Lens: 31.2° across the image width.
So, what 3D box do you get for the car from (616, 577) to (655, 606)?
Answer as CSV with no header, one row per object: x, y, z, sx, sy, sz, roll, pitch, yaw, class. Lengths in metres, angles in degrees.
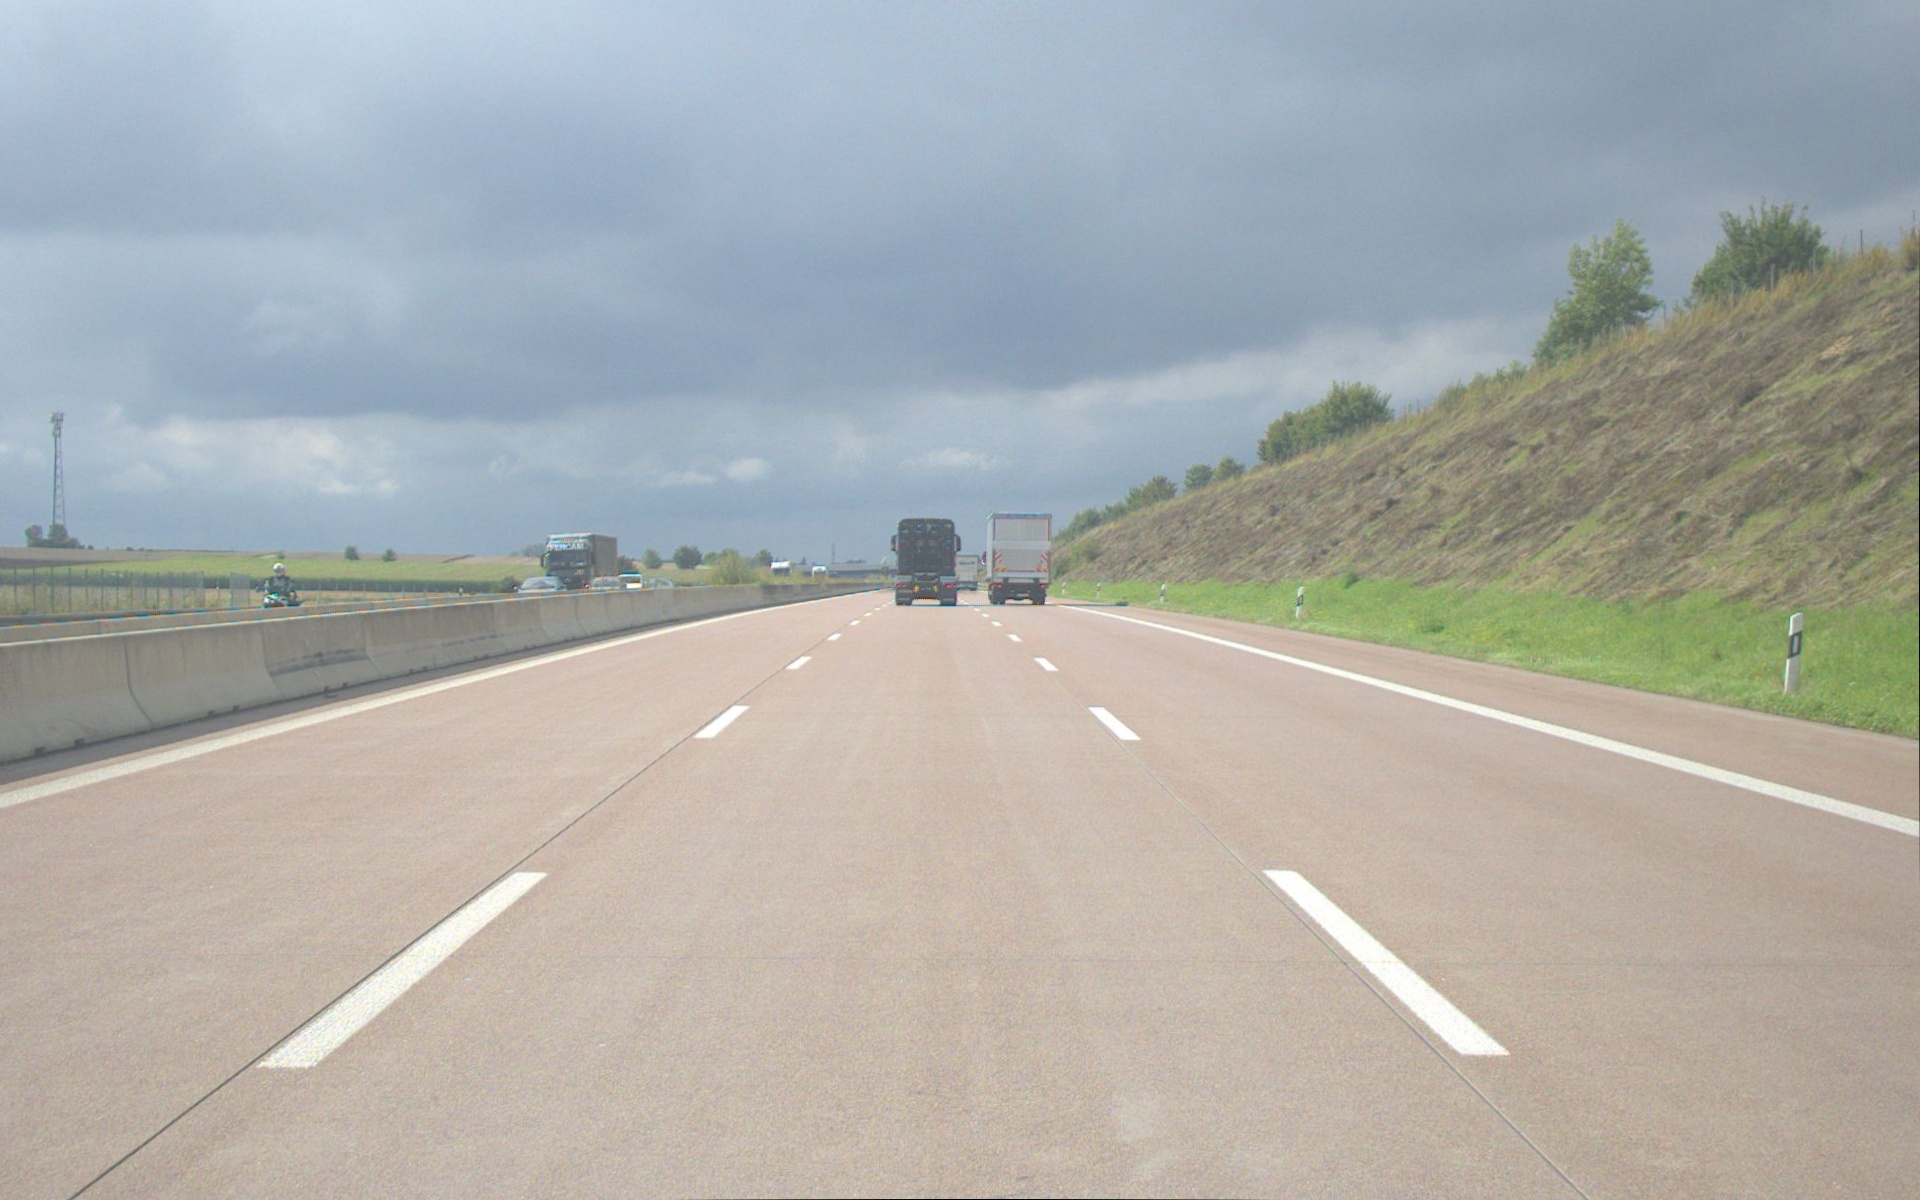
-21.436,-0.577,227.159,2.058,1.840,5.728,-1,1,-1,car

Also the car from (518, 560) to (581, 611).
-16.607,-0.574,139.371,1.986,2.007,5.052,1,0,-1,car

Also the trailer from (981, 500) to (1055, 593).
2.508,-2.311,151.854,2.747,3.998,8.671,0,0,-2,trailer

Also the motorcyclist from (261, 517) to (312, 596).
-16.068,-1.030,82.040,1.009,1.855,0.744,1,1,1,motorcyclist

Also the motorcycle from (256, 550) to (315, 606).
-16.086,-0.530,82.087,0.926,1.299,2.342,1,1,0,motorcycle

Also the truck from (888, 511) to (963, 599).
-1.474,-1.823,142.696,2.847,3.537,8.320,0,0,-2,truck
